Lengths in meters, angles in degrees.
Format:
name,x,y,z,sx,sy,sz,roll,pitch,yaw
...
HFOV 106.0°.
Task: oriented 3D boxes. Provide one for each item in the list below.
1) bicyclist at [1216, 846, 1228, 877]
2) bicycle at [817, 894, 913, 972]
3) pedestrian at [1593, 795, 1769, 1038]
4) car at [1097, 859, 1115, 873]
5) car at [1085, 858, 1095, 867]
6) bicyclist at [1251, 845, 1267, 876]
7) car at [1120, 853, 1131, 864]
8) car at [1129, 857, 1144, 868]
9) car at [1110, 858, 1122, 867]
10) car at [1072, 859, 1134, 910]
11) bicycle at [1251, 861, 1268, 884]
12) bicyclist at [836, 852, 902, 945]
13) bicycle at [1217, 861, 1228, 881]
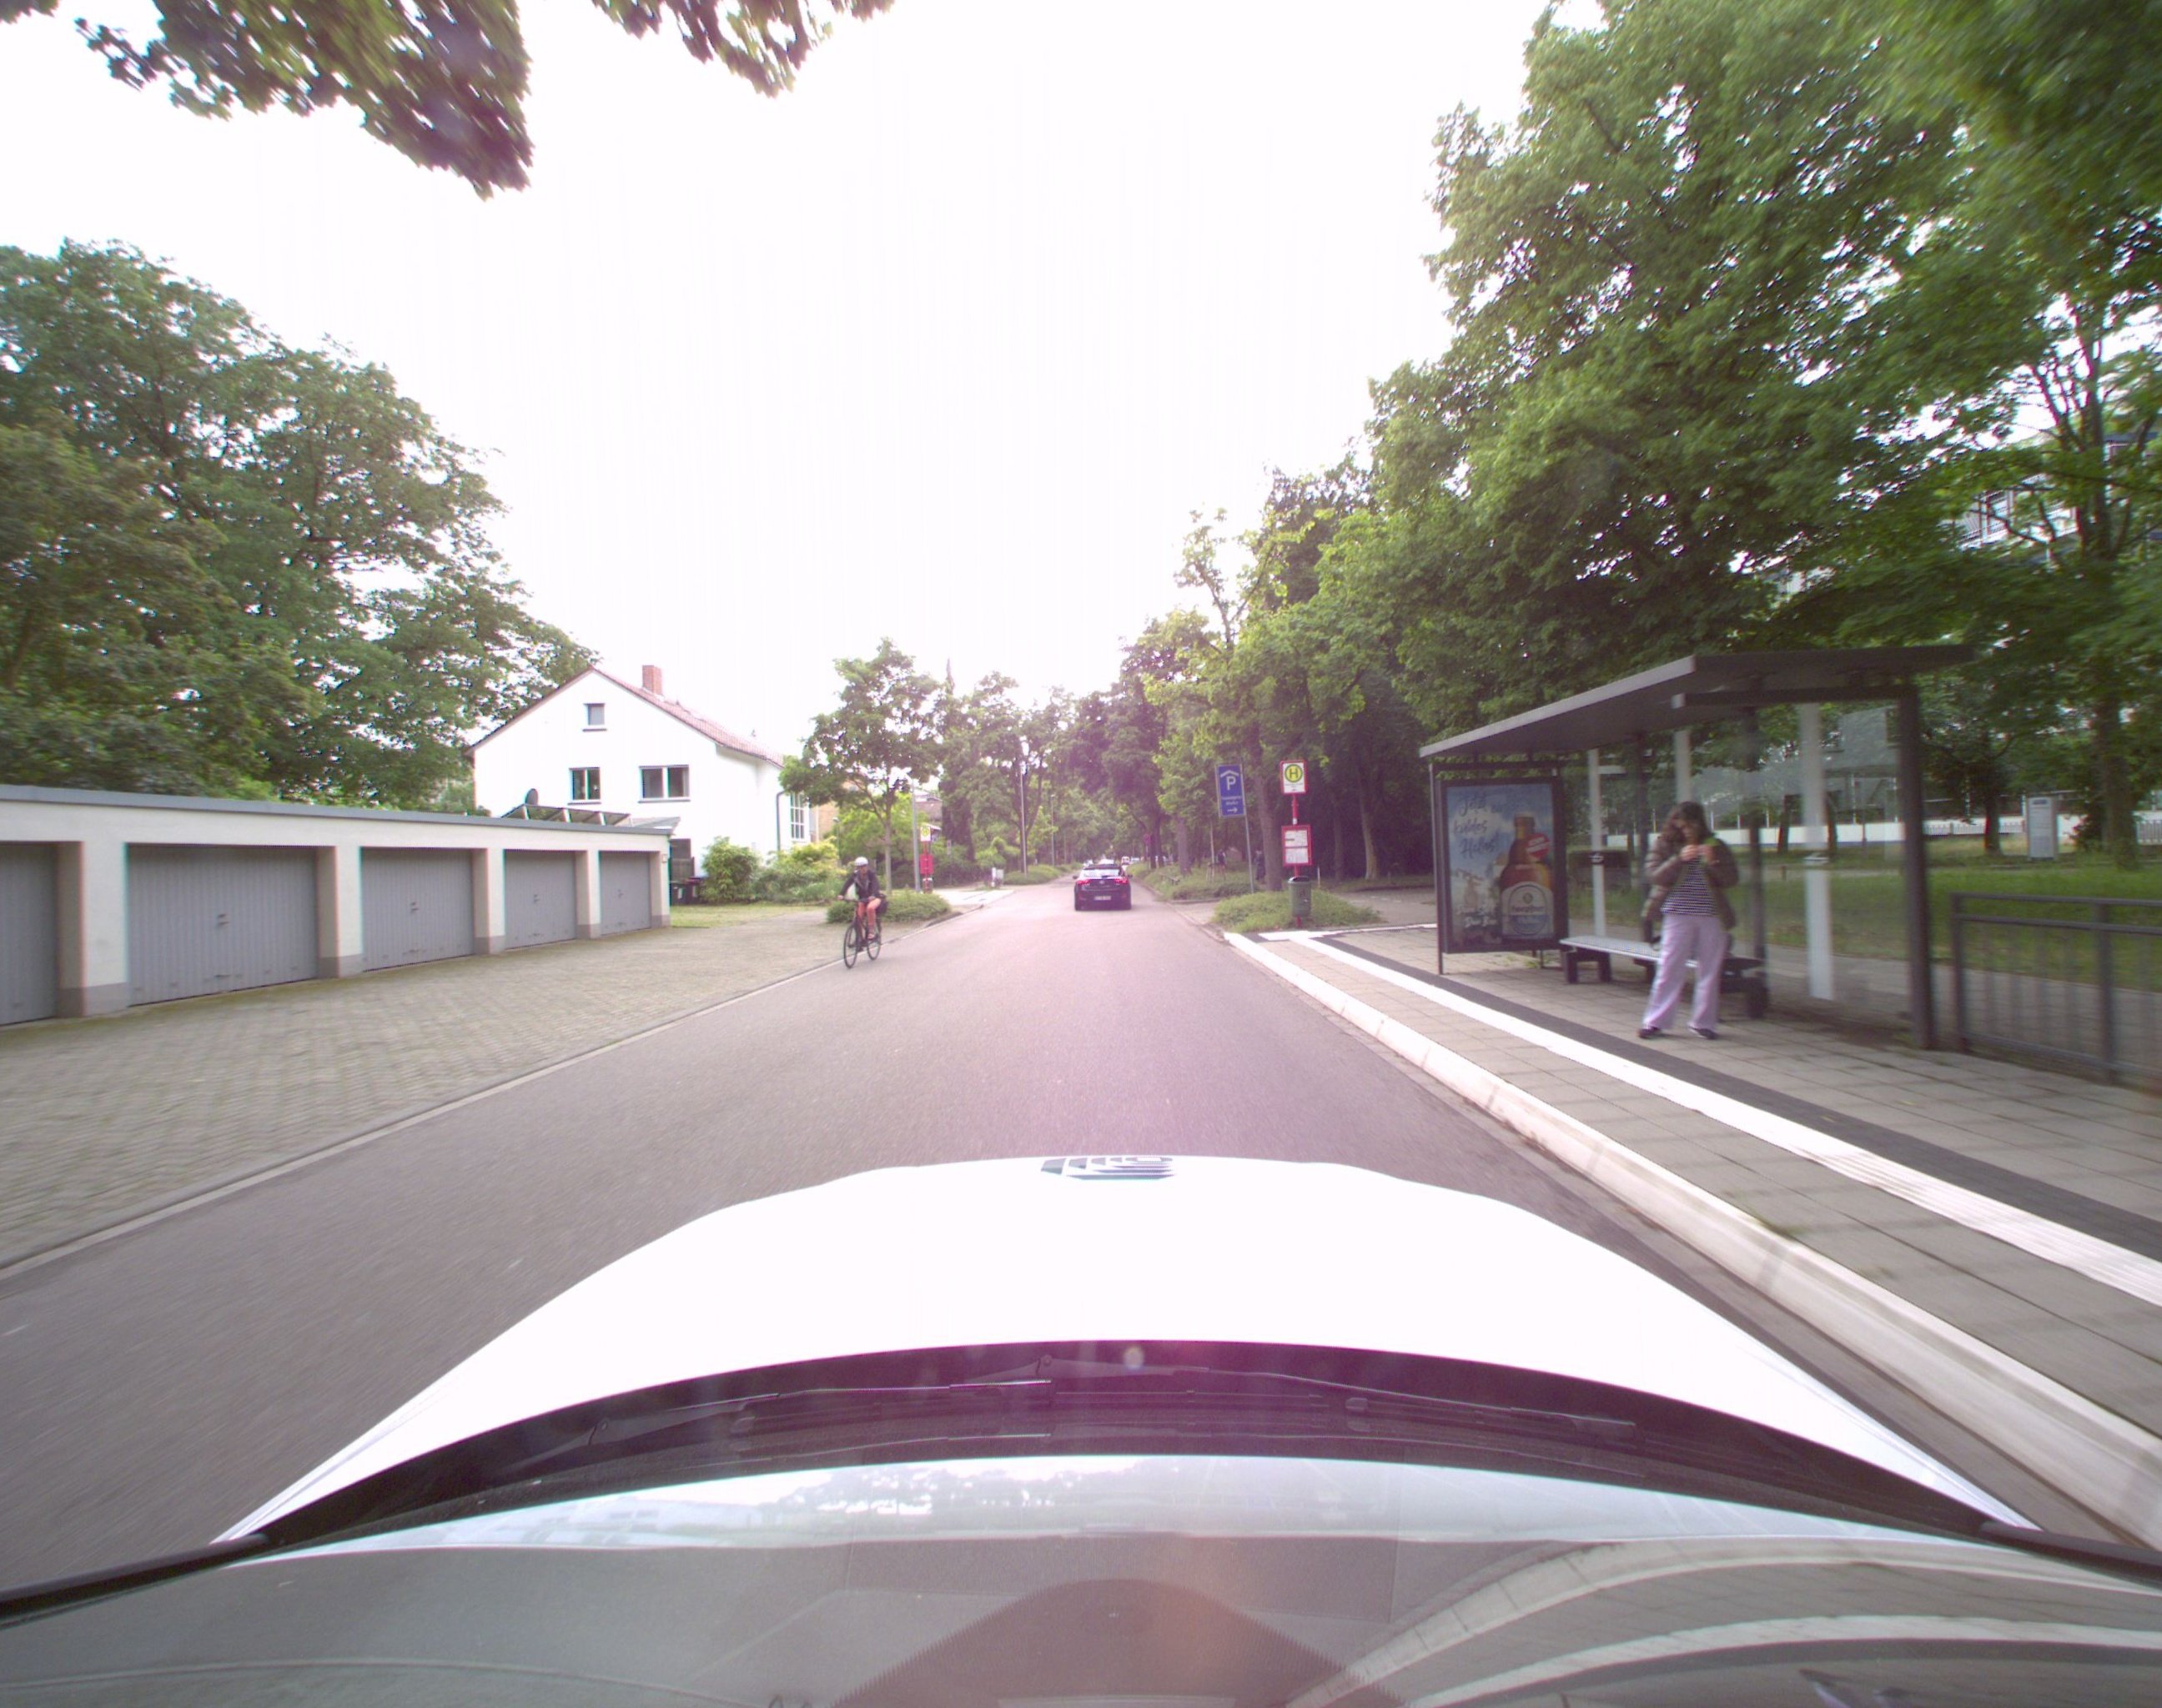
name,x,y,z,sx,sy,sz,roll,pitch,yaw
bicyclist,7.216,0.369,41.686,0.531,1.549,0.760,-3,-1,9
bicycle,-3.547,1.266,13.657,0.791,1.025,2.565,-3,0,2
pedestrian,4.190,0.414,5.738,0.651,1.583,0.698,-3,0,2
car,2.896,1.375,94.232,1.859,1.462,4.114,-3,0,-1
car,1.457,1.380,137.006,1.557,1.437,4.213,-3,0,-1
bicyclist,8.404,0.310,38.483,0.593,1.409,0.760,-3,-1,9
car,9.106,0.918,166.321,1.985,2.013,4.004,-3,0,4
car,8.568,1.296,125.553,1.893,1.486,3.999,-2,-1,0
car,6.259,1.445,144.837,1.986,1.486,4.001,-3,0,2
car,0.707,0.944,26.740,1.839,1.462,3.828,-2,0,1
bicycle,8.457,0.865,38.561,0.604,0.975,1.948,-3,0,8
bicyclist,-3.560,0.724,13.745,0.781,1.469,0.937,-3,0,1
bicycle,7.210,0.869,41.578,0.488,0.975,1.948,-3,0,8
